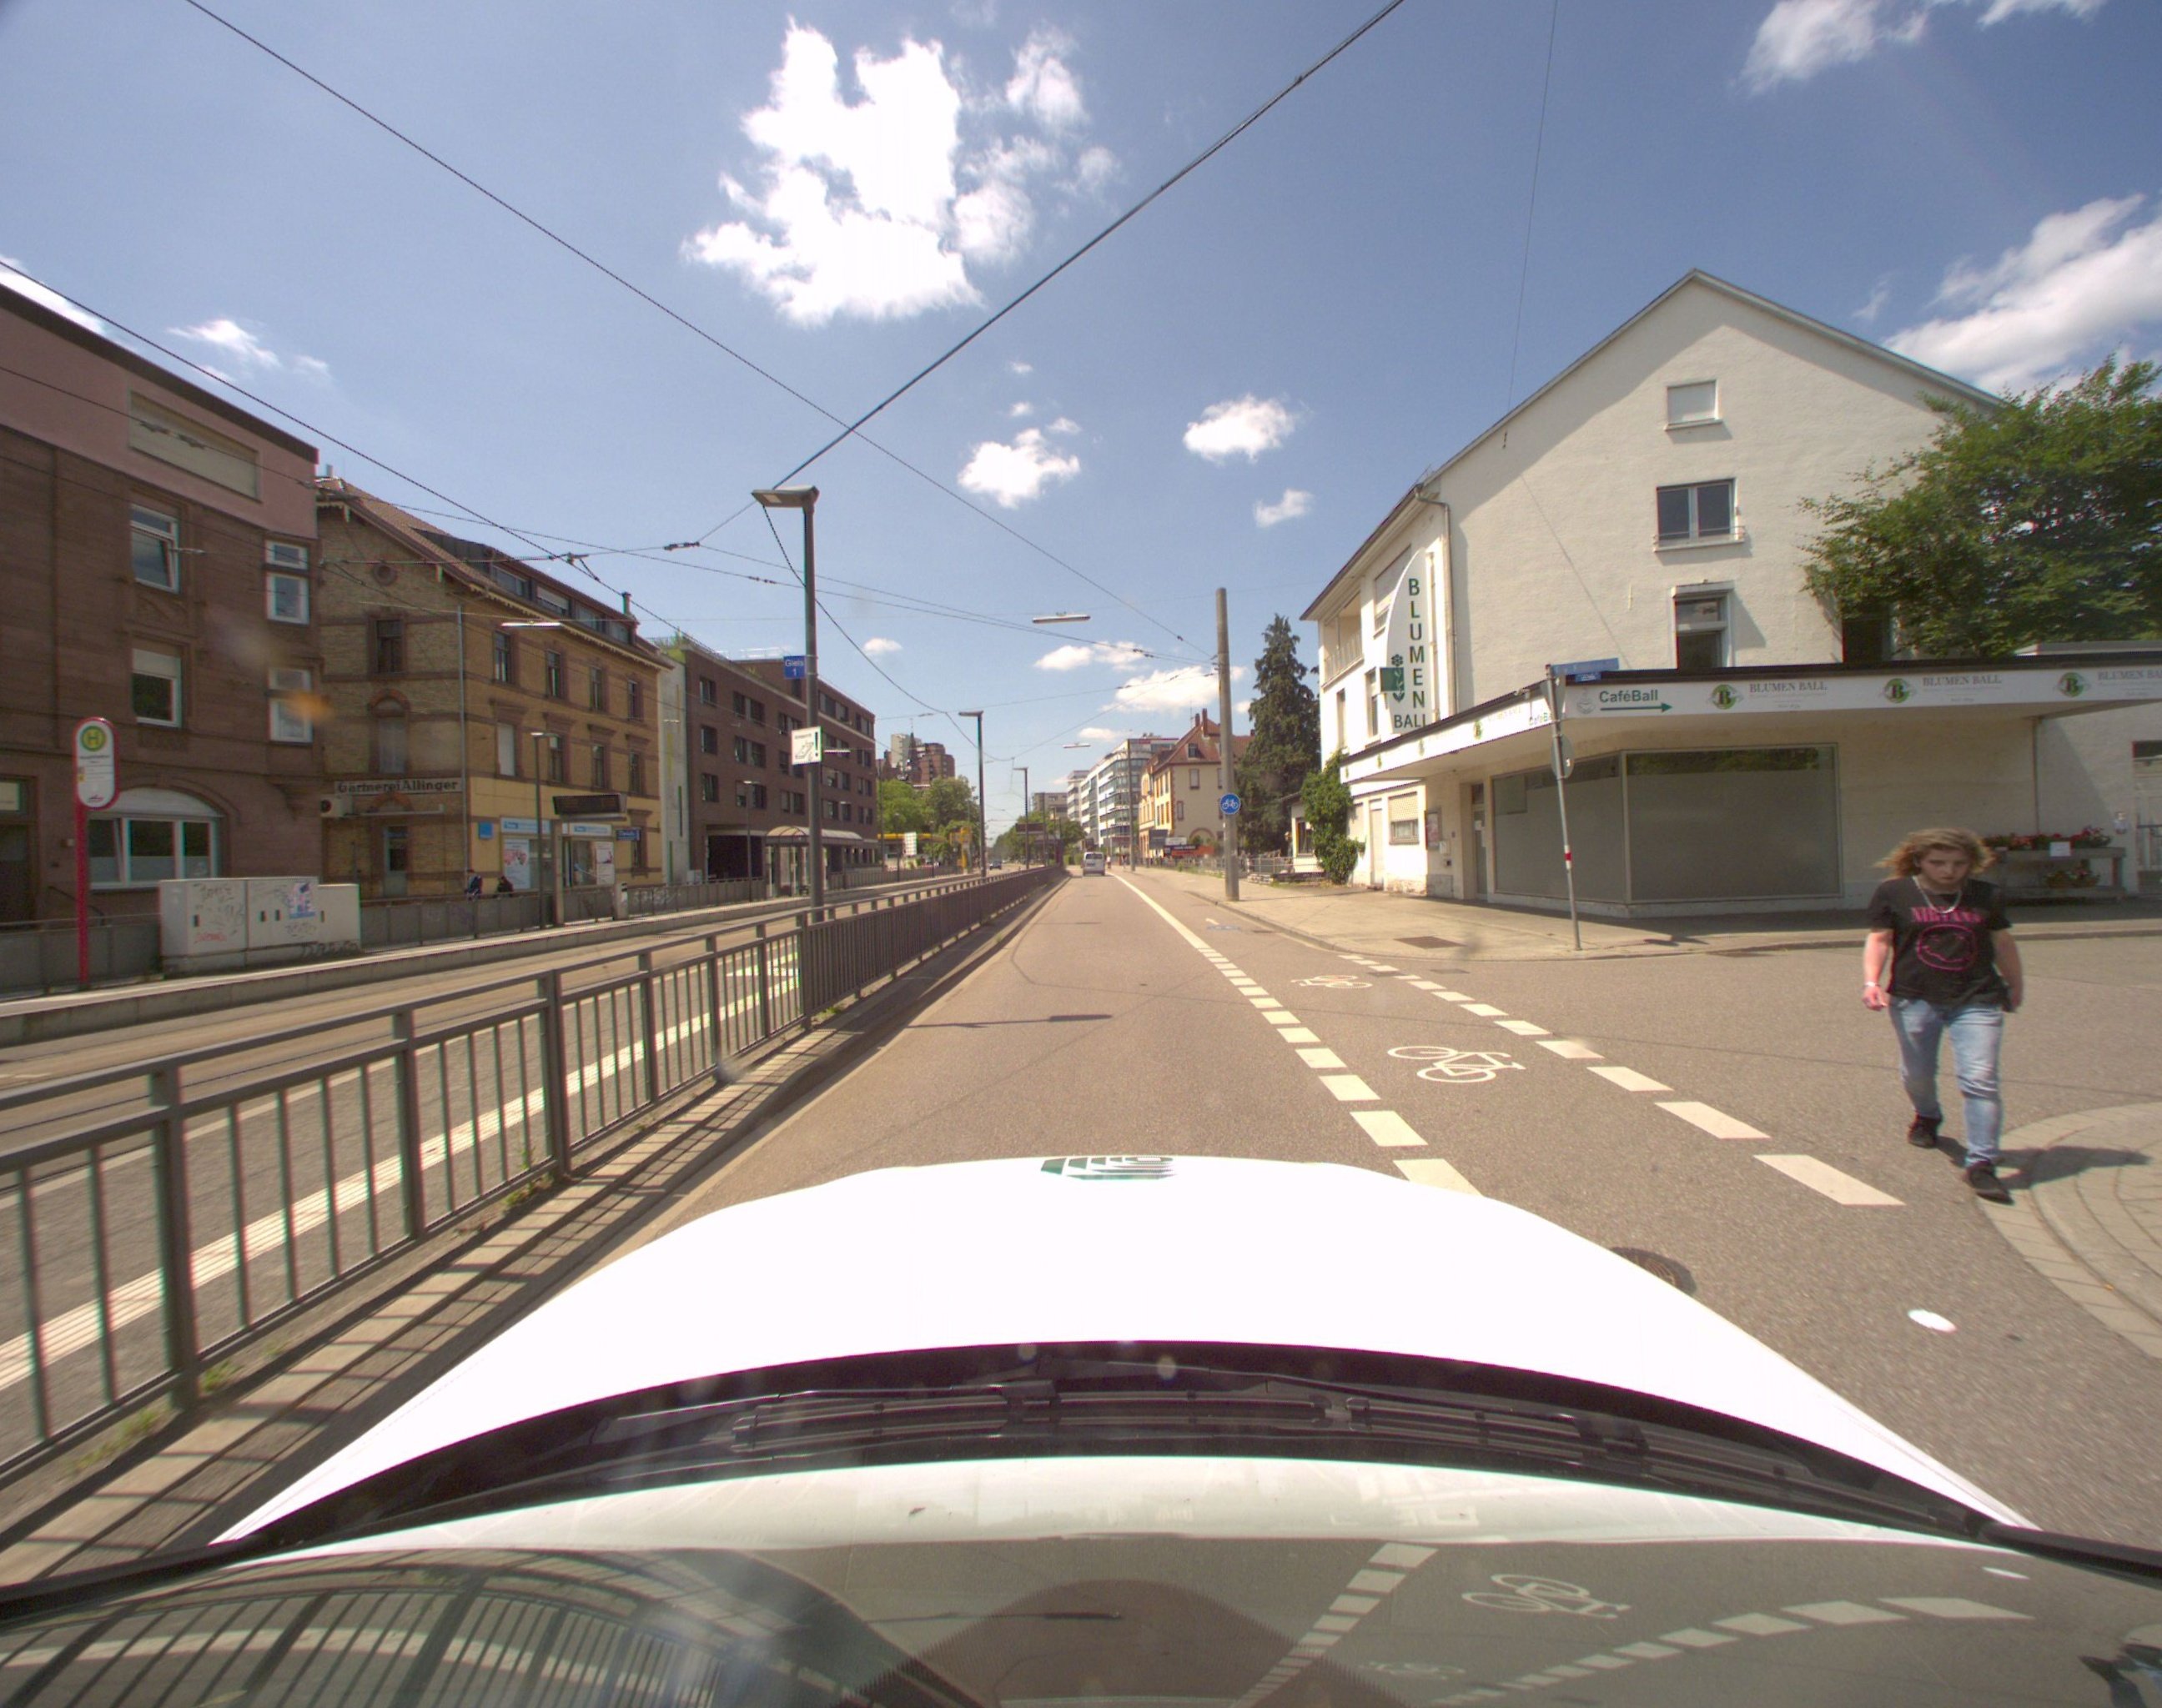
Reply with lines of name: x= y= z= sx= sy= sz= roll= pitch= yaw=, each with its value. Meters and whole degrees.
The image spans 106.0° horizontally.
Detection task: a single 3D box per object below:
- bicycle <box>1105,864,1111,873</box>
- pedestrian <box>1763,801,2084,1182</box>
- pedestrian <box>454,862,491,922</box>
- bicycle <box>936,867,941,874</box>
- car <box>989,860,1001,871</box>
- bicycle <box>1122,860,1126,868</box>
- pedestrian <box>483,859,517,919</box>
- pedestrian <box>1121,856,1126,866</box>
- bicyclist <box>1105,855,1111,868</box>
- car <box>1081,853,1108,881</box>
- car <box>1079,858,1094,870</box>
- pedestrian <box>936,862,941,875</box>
bicycle: x=2.939 y=1.578 z=88.825 sx=0.465 sy=0.887 sz=2.045 roll=-1 pitch=0 yaw=-3
pedestrian: x=3.846 y=0.579 z=3.798 sx=0.574 sy=1.556 sz=0.786 roll=-4 pitch=-1 yaw=4
pedestrian: x=-20.967 y=1.281 z=28.053 sx=0.616 sy=2.014 sz=0.810 roll=-2 pitch=-1 yaw=-1
bicycle: x=-16.427 y=1.930 z=93.993 sx=0.291 sy=0.761 sz=1.187 roll=-4 pitch=-1 yaw=1
car: x=-14.058 y=1.850 z=133.381 sx=1.695 sy=1.616 sz=3.753 roll=-2 pitch=0 yaw=-4
bicycle: x=4.923 y=1.139 z=93.345 sx=0.355 sy=0.940 sz=1.318 roll=-4 pitch=-1 yaw=2
pedestrian: x=-19.975 y=1.185 z=27.994 sx=0.675 sy=2.014 sz=0.684 roll=-1 pitch=-1 yaw=-2
pedestrian: x=4.890 y=0.826 z=93.397 sx=0.481 sy=1.053 sz=0.537 roll=-4 pitch=-1 yaw=1
bicyclist: x=2.938 y=0.849 z=88.759 sx=0.590 sy=1.397 sz=0.840 roll=-1 pitch=0 yaw=-4
car: x=1.036 y=0.992 z=63.823 sx=1.749 sy=2.013 sz=3.995 roll=-3 pitch=0 yaw=-3
car: x=0.835 y=1.558 z=126.527 sx=1.860 sy=1.687 sz=4.992 roll=-3 pitch=0 yaw=-4
pedestrian: x=-16.462 y=1.660 z=94.001 sx=0.434 sy=1.384 sz=0.536 roll=-4 pitch=-1 yaw=0
